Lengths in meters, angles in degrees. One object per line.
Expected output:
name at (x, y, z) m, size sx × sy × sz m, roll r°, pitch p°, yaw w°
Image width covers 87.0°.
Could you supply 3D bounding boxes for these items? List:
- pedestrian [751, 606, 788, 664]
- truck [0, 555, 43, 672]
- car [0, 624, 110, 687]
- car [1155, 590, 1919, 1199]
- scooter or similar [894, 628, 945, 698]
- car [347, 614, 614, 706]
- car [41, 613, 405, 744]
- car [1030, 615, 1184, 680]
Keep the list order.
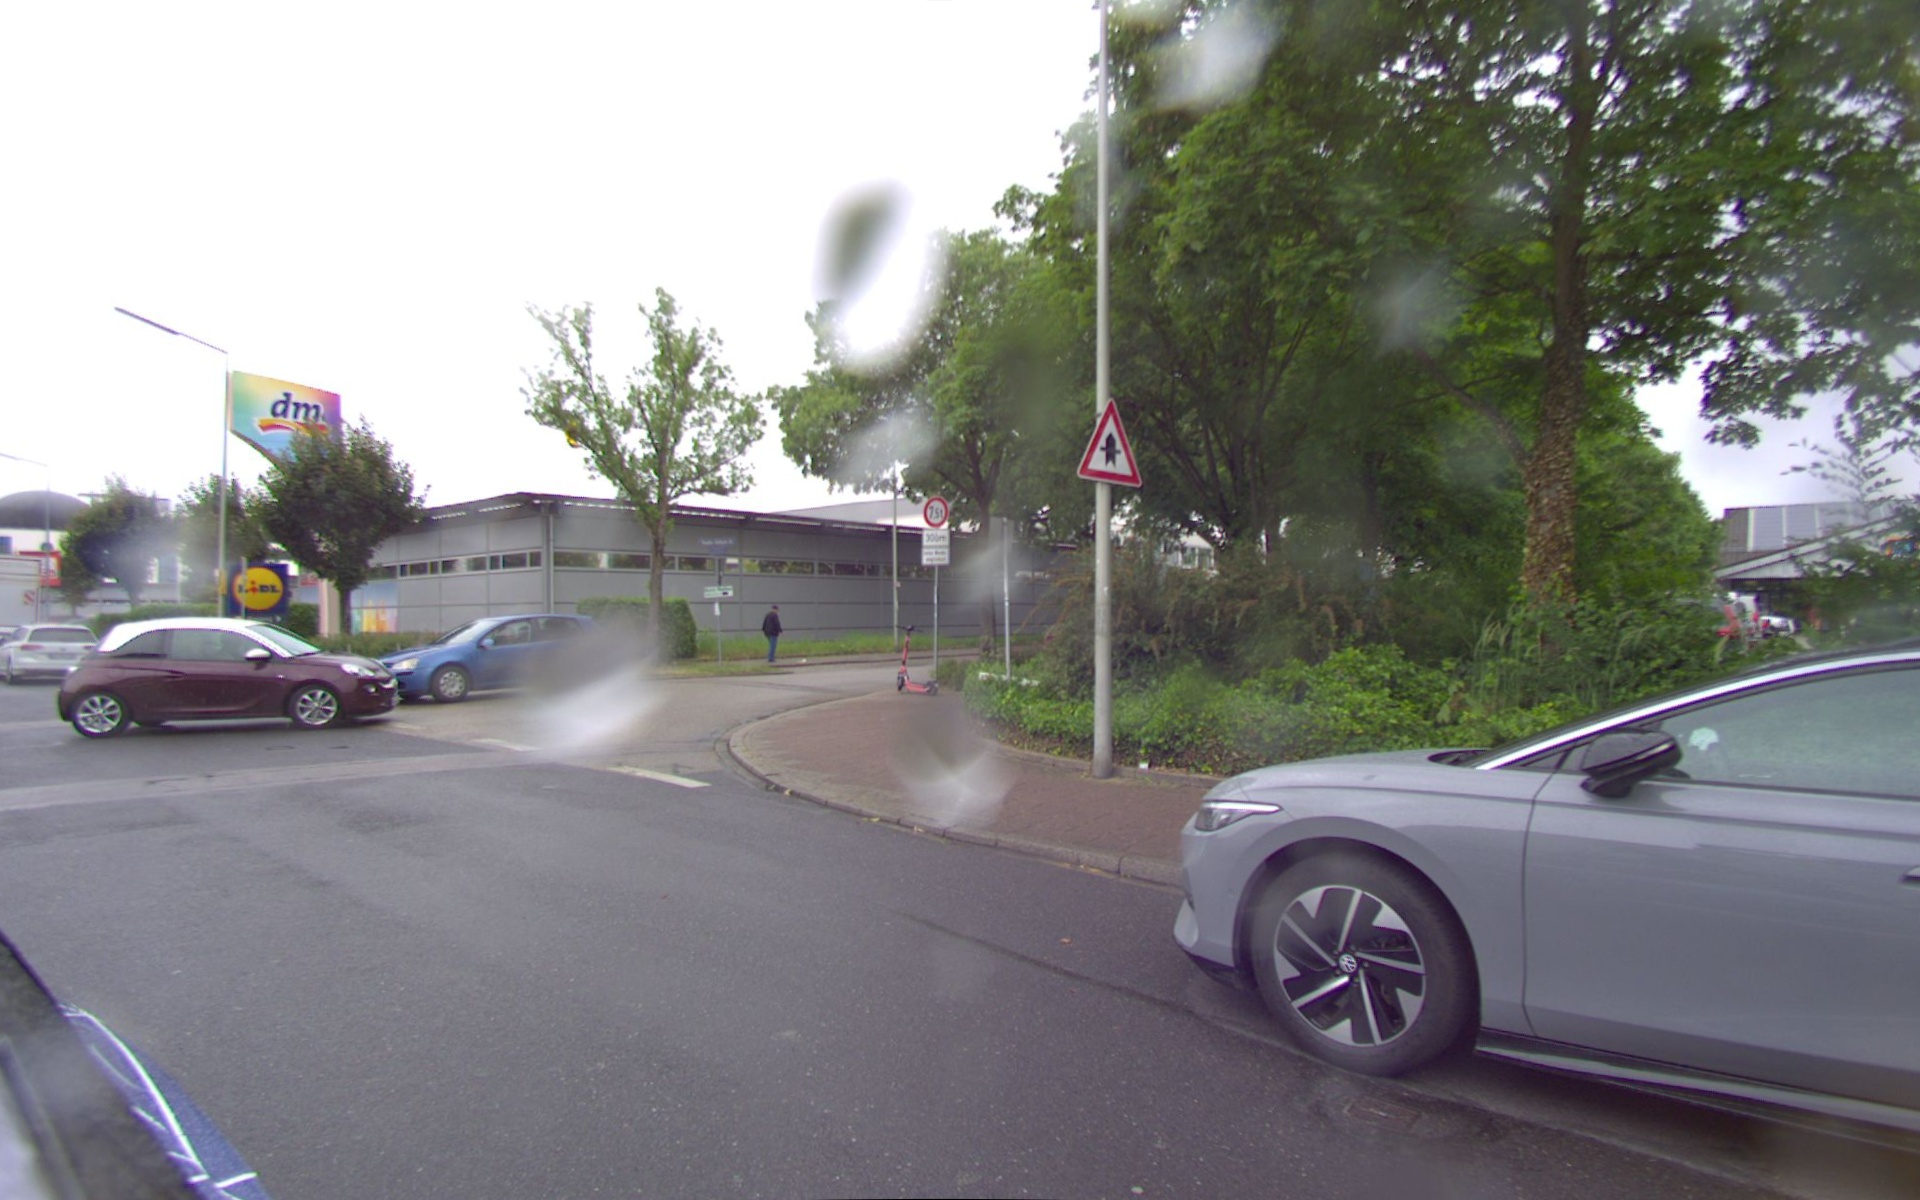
pedestrian at (-5.645, 1.035, 29.976) m, size 0.757 × 1.686 × 0.772 m, roll -1°, pitch -2°, yaw 38°
truck at (-34.109, 0.500, 34.867) m, size 7.864 × 3.775 × 2.851 m, roll -1°, pitch -2°, yaw 41°
car at (-23.126, 1.360, 25.562) m, size 4.489 × 1.445 × 1.817 m, roll -1°, pitch -3°, yaw 41°
car at (3.133, 0.805, 2.997) m, size 4.744 × 1.540 × 1.790 m, roll -1°, pitch -5°, yaw 40°
scooter or similar at (-0.724, 1.089, 17.761) m, size 0.280 × 1.184 × 1.061 m, roll 1°, pitch -2°, yaw -42°
car at (-8.429, 1.014, 18.053) m, size 1.735 × 1.452 × 3.947 m, roll -2°, pitch -2°, yaw 40°
car at (-9.518, 0.955, 13.386) m, size 3.517 × 1.466 × 1.643 m, roll -1°, pitch 0°, yaw -16°
car at (3.471, 1.072, 23.422) m, size 1.735 × 1.374 × 3.947 m, roll -2°, pitch -2°, yaw 40°
